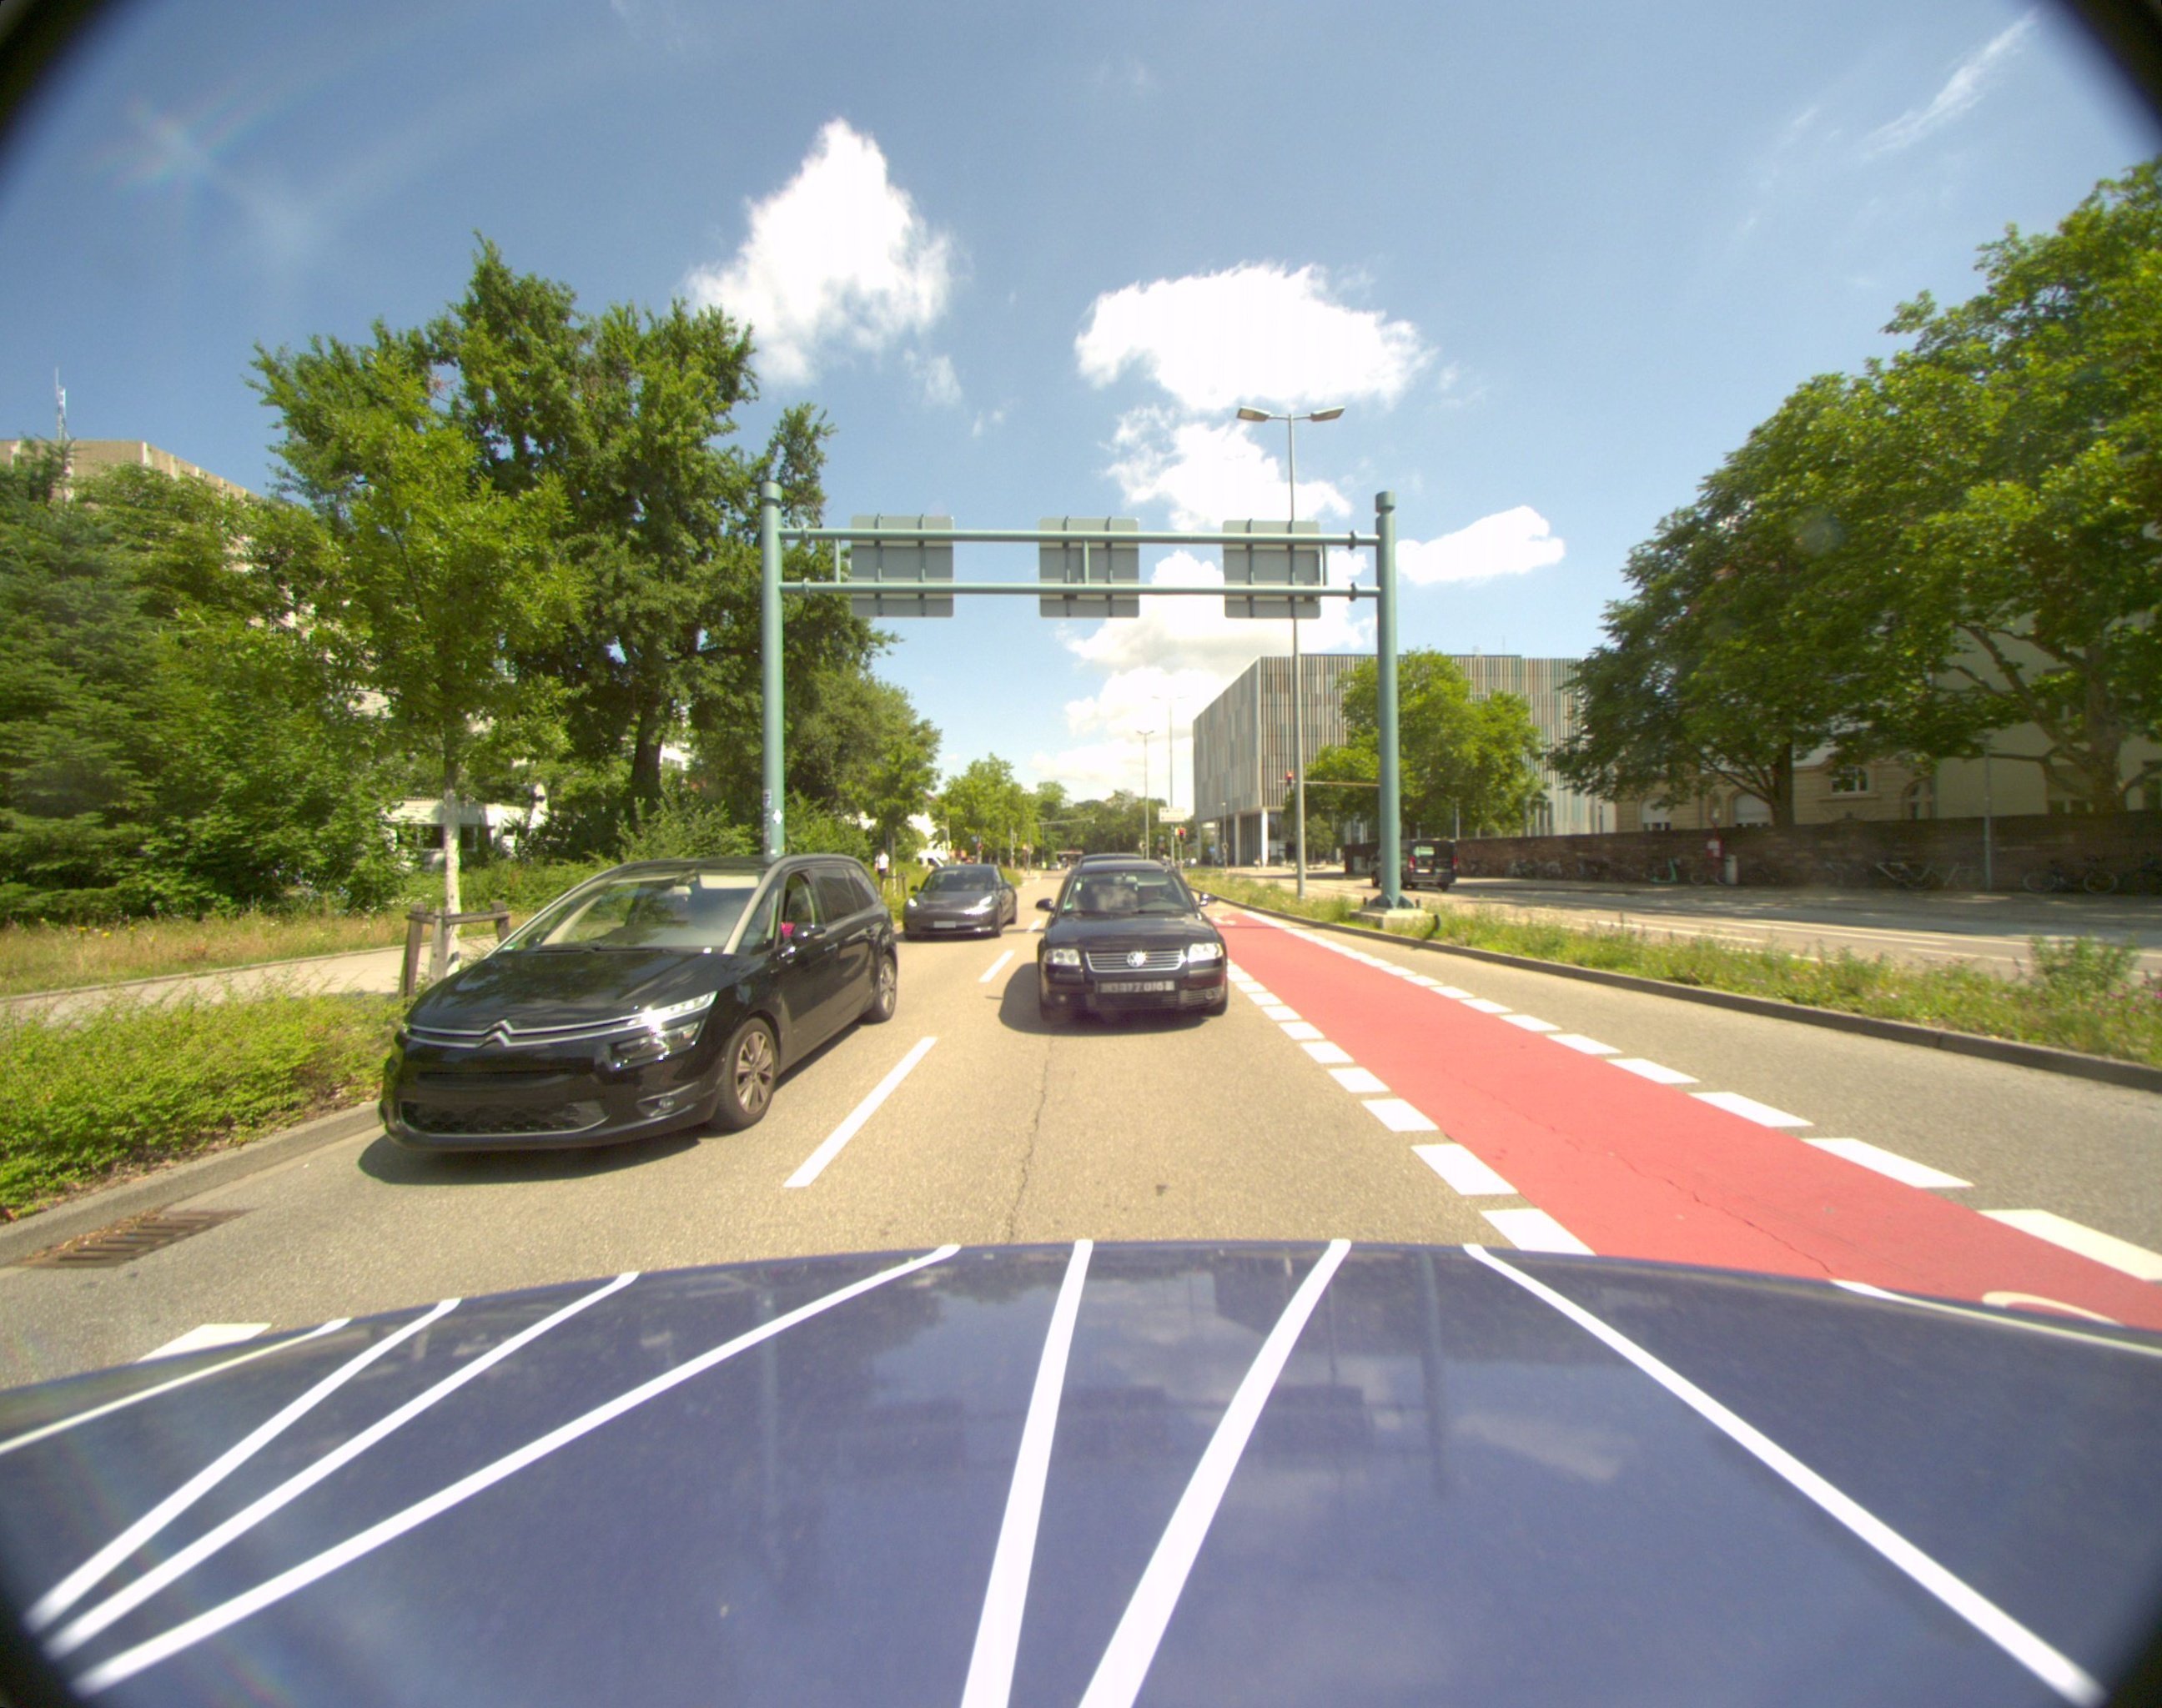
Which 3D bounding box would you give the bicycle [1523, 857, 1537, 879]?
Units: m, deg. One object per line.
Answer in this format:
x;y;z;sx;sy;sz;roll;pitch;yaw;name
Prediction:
23.209;0.711;39.277;0.382;1.101;1.673;-1;0;22;bicycle

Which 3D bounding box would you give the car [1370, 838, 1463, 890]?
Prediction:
14.835;0.432;33.911;2.214;2.158;4.521;0;0;2;car

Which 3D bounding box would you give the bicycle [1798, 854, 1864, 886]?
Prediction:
25.548;0.523;25.904;0.383;1.037;1.668;-1;0;-11;bicycle

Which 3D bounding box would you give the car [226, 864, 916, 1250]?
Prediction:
-2.796;0.954;5.666;1.862;1.613;4.521;-3;0;3;car

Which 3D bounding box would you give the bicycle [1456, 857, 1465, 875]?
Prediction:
22.489;0.701;44.992;0.329;1.012;1.673;-1;0;22;bicycle

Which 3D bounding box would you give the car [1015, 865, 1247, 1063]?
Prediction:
0.463;0.901;8.233;1.751;1.426;4.521;-3;0;2;car

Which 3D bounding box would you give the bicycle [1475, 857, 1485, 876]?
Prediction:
22.737;0.712;43.330;0.329;1.012;1.673;-1;0;22;bicycle

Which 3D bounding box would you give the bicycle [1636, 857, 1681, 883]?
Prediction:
24.427;0.664;32.181;0.383;1.101;1.668;-1;0;-11;bicycle

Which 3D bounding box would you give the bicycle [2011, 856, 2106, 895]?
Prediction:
26.706;0.565;20.799;0.398;1.037;1.582;-1;0;-13;bicycle

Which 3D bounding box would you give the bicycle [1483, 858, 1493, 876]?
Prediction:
22.836;0.722;42.615;0.329;1.012;1.673;-1;0;22;bicycle

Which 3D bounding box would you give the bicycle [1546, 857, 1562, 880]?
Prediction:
23.432;0.718;37.657;0.382;1.101;1.673;-1;0;22;bicycle

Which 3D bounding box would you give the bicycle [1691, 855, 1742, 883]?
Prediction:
24.714;0.571;29.586;0.383;1.037;1.668;-1;0;-11;bicycle

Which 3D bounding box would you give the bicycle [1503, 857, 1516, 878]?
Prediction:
22.854;0.711;40.534;0.382;1.101;1.673;-1;0;22;bicycle

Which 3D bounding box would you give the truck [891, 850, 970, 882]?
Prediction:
-12.320;1.004;62.533;5.808;2.287;2.465;-3;0;6;truck

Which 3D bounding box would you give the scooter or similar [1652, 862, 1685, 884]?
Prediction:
23.921;0.772;30.953;0.353;0.838;1.068;-1;0;-12;scooter or similar

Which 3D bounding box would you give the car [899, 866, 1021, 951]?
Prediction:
-2.370;1.025;15.977;1.765;1.409;4.363;-3;0;0;car

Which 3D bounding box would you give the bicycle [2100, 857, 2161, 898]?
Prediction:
27.104;0.589;19.110;0.398;0.997;1.759;-1;0;-13;bicycle

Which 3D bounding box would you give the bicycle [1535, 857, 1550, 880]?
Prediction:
23.302;0.714;38.415;0.382;1.101;1.673;-1;0;22;bicycle

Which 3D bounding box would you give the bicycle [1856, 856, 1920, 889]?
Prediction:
25.858;0.575;24.367;0.377;1.037;1.415;-1;0;-13;bicycle

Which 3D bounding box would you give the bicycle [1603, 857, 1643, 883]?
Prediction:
24.127;0.701;33.855;0.383;1.101;1.669;-1;0;-10;bicycle

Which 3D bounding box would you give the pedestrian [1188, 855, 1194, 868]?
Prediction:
16.840;1.094;116.169;0.715;1.906;0.807;-2;1;-5;pedestrian

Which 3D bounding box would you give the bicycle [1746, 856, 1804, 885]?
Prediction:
25.212;0.576;27.641;0.383;1.037;1.668;-1;0;-11;bicycle

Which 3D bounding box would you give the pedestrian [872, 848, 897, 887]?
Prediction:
-9.250;0.634;35.816;0.844;1.755;0.841;-2;1;1;pedestrian

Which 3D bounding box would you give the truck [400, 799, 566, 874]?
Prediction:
-26.856;-0.744;34.618;2.098;3.005;7.122;-2;1;-3;truck

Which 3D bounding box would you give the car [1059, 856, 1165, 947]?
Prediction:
0.612;0.830;15.410;1.751;1.495;4.521;-3;0;2;car

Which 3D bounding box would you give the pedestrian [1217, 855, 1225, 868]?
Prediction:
19.851;1.069;107.929;0.825;1.906;0.807;-2;1;-5;pedestrian

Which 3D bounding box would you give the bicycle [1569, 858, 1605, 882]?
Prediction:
23.882;0.732;35.872;0.382;1.101;1.669;-1;0;-8;bicycle

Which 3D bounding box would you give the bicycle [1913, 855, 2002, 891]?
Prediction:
26.226;0.549;22.779;0.398;1.037;1.759;-1;0;-13;bicycle

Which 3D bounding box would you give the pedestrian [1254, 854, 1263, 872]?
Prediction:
20.093;1.006;85.910;0.715;1.906;0.807;-2;1;-5;pedestrian

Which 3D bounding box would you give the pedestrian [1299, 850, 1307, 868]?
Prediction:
23.110;0.512;79.080;0.632;1.907;0.718;-2;1;-2;pedestrian

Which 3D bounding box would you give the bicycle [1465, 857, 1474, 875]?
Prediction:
22.614;0.704;44.260;0.329;1.012;1.673;-1;0;22;bicycle

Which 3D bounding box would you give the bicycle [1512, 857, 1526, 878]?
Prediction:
23.110;0.706;40.094;0.382;1.101;1.673;-1;0;22;bicycle
